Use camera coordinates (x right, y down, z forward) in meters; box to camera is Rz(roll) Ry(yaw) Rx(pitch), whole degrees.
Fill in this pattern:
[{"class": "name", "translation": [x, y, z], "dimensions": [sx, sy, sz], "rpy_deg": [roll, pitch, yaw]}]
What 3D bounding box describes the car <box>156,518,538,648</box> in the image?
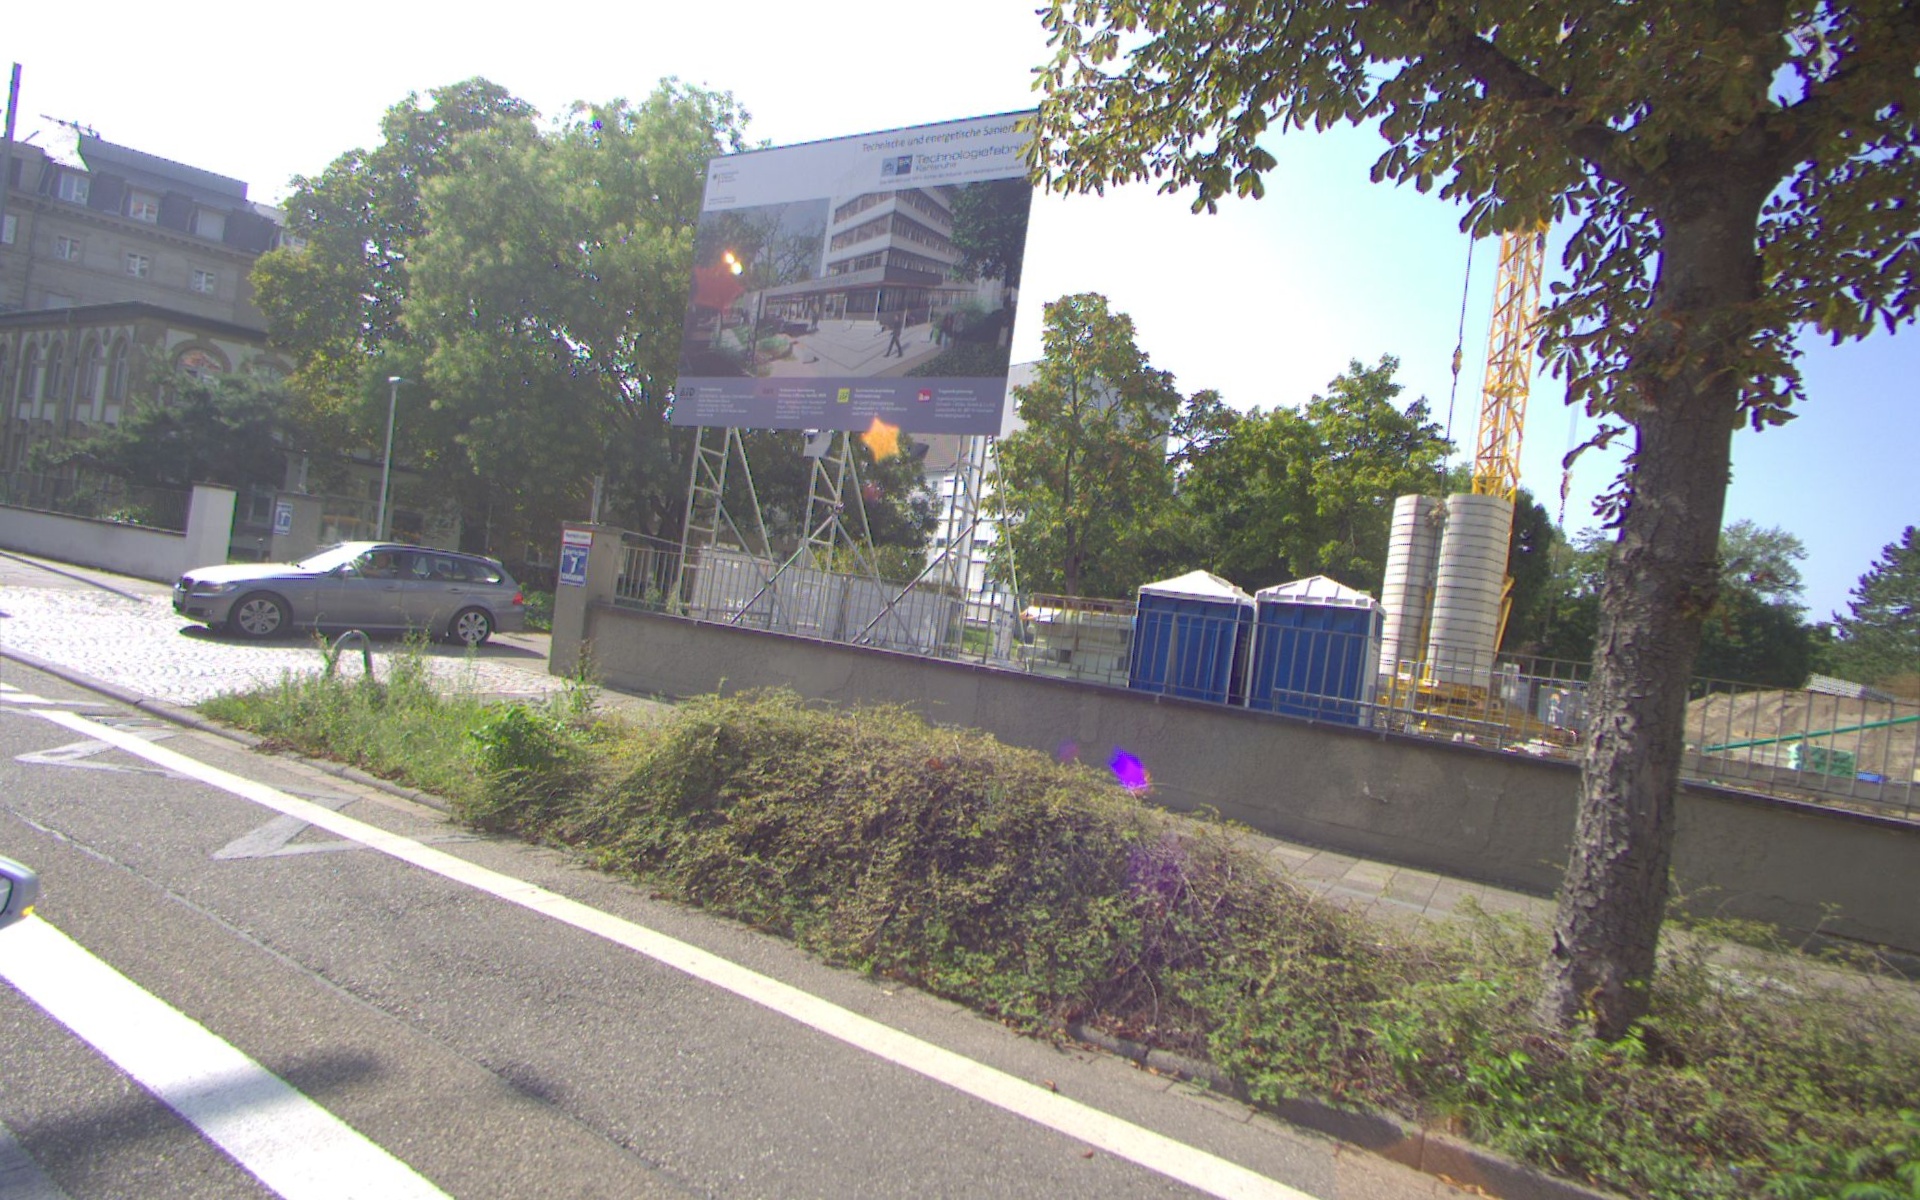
[{"class": "car", "translation": [-8.833, -0.177, 14.849], "dimensions": [1.779, 1.427, 4.417], "rpy_deg": [6, -1, 39]}]
